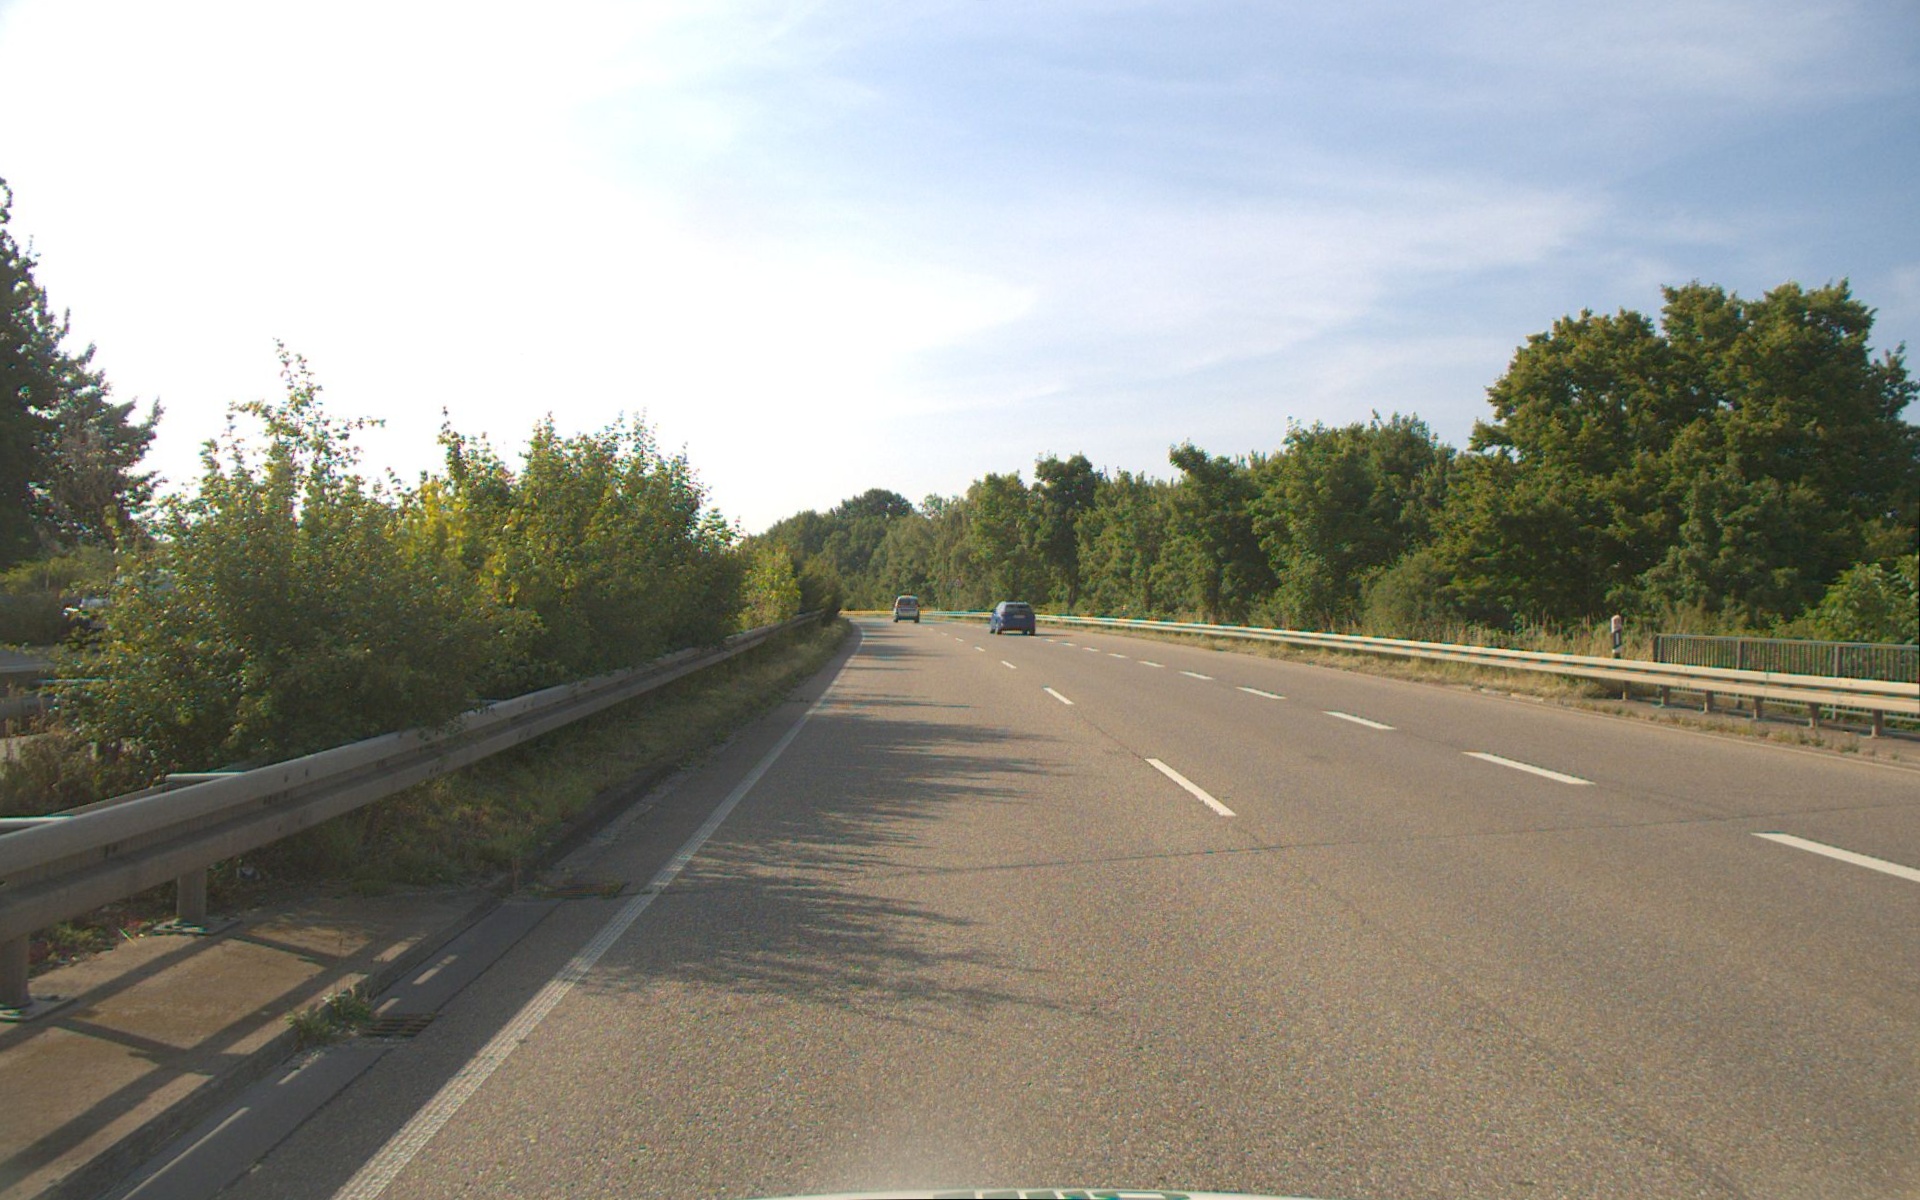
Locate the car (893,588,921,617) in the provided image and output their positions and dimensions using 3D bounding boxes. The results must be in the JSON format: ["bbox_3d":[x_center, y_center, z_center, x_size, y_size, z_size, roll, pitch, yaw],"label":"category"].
[{"bbox_3d":[-3.670,0.162,114.436,1.731,1.914,3.997,1,0,-4],"label":"car"}]

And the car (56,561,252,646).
[{"bbox_3d":[-14.878,0.056,30.787,1.916,1.478,4.102,0,0,-5],"label":"car"}]

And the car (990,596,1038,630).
[{"bbox_3d":[2.413,0.613,74.834,1.744,1.477,3.996,1,-1,-4],"label":"car"}]
